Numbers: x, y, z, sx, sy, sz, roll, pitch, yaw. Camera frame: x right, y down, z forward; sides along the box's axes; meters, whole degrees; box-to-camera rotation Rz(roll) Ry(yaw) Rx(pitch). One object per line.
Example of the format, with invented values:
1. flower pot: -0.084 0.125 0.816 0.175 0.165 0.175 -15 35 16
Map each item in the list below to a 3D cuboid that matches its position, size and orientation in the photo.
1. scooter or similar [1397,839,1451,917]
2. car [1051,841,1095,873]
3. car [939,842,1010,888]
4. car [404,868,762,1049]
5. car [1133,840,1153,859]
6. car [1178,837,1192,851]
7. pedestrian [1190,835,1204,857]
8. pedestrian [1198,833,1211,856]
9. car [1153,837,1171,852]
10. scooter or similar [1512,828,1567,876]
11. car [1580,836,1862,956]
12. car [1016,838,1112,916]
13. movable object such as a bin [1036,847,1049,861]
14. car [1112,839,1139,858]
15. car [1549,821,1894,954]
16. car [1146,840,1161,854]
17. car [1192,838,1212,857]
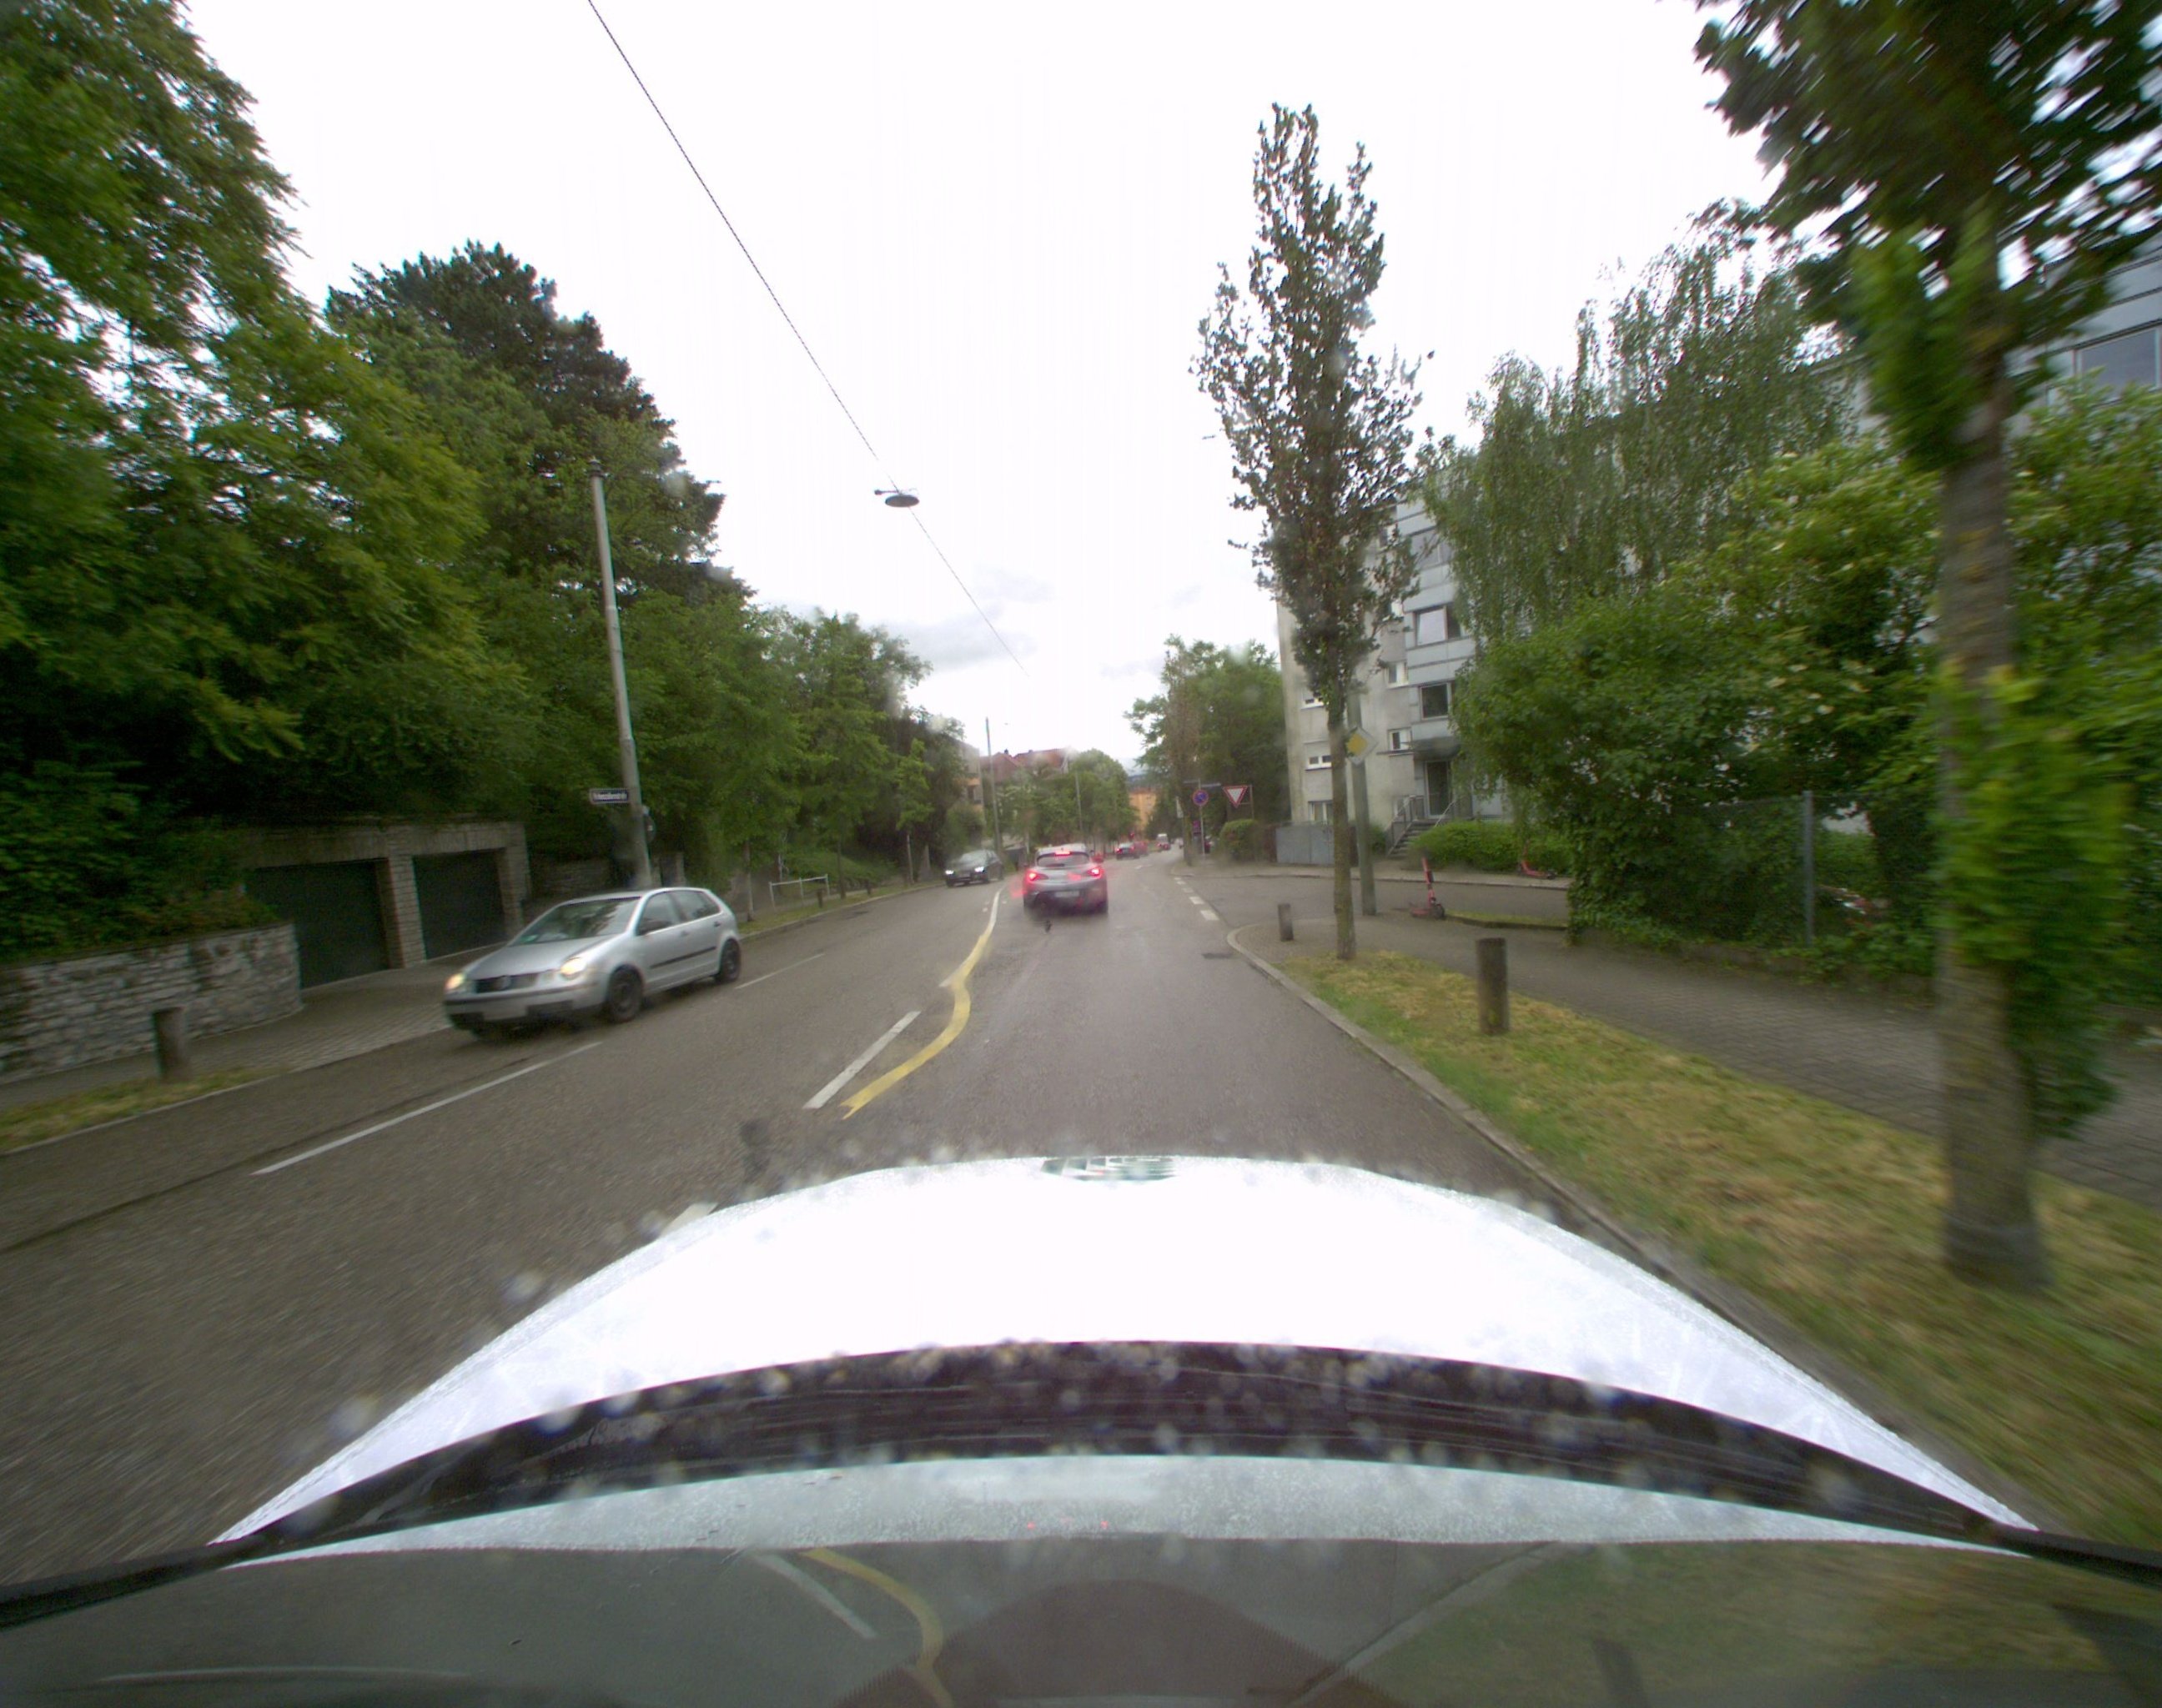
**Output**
1. scooter or similar: 5.864 0.397 13.968 0.341 1.254 1.267 -2 -1 0
2. car: -0.350 0.119 40.065 1.790 1.322 4.004 -4 1 3
3. car: -4.470 0.424 34.796 1.903 1.584 4.592 -8 0 4
4. car: -5.722 1.080 10.032 1.757 1.485 3.805 -6 1 4
5. car: 6.164 -0.478 80.488 1.759 1.781 3.985 -2 1 7
6. car: 16.726 -1.666 130.558 1.982 2.036 4.747 -2 1 9
7. pedestrian: 9.771 -0.641 68.482 0.736 1.723 0.761 -7 0 -17
8. pedestrian: 10.432 -0.827 68.625 0.665 1.836 0.685 -7 0 -16
9. car: 12.229 -1.442 122.456 2.320 2.036 4.748 -2 1 9
10. scooter or similar: 12.363 -0.077 21.992 0.499 1.183 1.191 -9 8 -33
11. car: 10.915 0.588 14.075 1.654 1.521 3.529 -6 8 -41
12. car: -0.292 0.442 18.830 1.938 1.431 3.887 -2 3 2
13. movable object such as a bin: -4.004 -0.038 85.140 1.265 1.387 0.490 -3 1 6
14. car: 3.782 -0.484 68.650 1.950 1.472 3.959 -2 1 7
15. car: 8.148 0.328 10.897 1.499 1.435 4.000 -1 1 0
16. car: 9.468 -0.913 106.024 1.745 1.651 4.008 -2 0 7
17. car: 10.481 -0.566 70.861 1.495 1.435 4.009 -6 0 8
